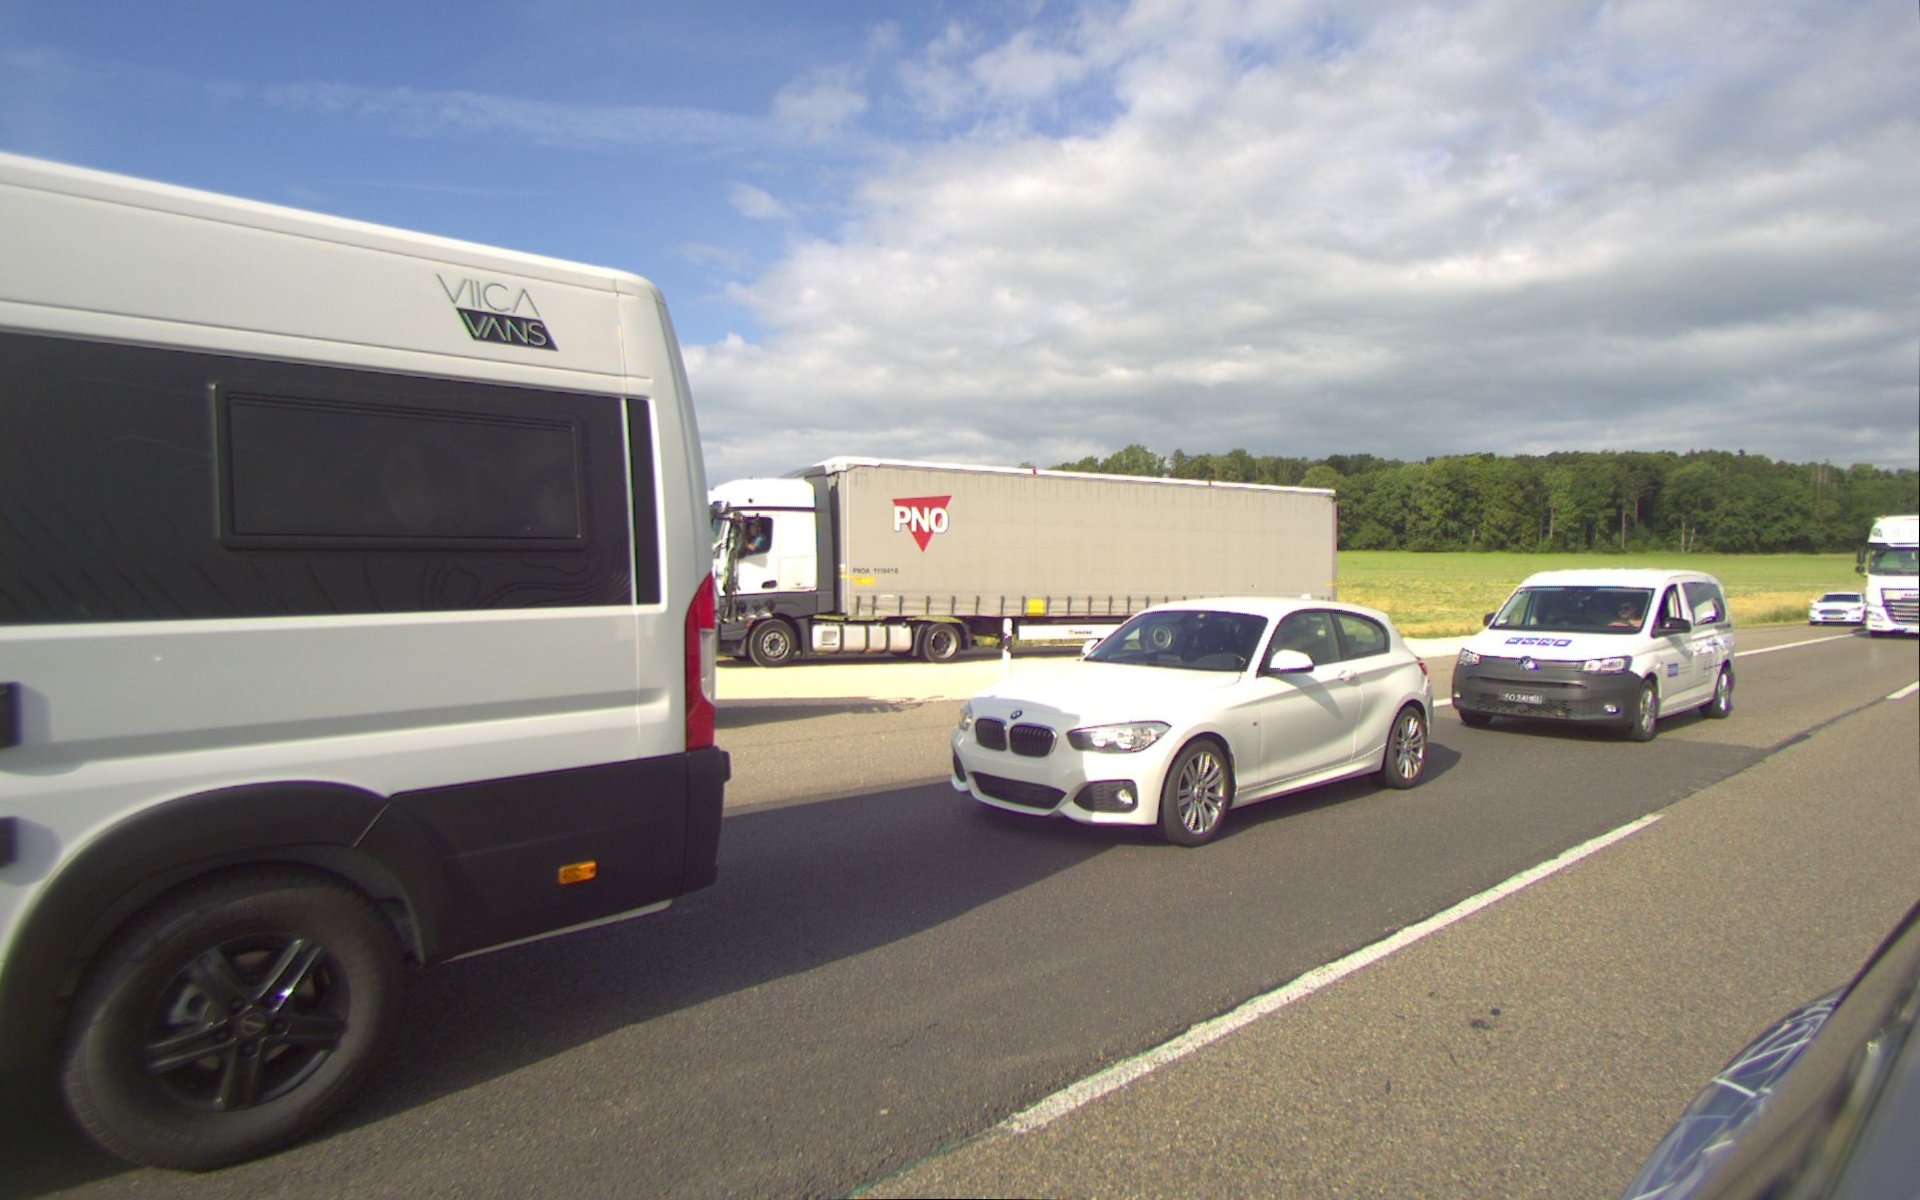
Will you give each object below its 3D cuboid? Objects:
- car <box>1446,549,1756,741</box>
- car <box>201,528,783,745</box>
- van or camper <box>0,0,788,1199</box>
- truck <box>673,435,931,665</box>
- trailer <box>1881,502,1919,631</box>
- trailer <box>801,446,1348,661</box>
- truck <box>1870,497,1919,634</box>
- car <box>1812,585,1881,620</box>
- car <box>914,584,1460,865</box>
[{"bbox_3d":[7.457,0.402,11.574,4.620,1.779,1.727,0,0,-41],"label":"car"},{"bbox_3d":[-4.527,0.311,10.580,5.156,1.949,1.804,0,0,-14],"label":"car"},{"bbox_3d":[-3.645,-0.009,2.231,6.222,2.714,2.219,0,1,-41],"label":"van or camper"},{"bbox_3d":[-3.292,-0.937,20.872,4.662,4.226,2.727,0,0,-26],"label":"truck"},{"bbox_3d":[36.687,-1.224,37.161,13.777,4.212,2.739,-1,1,-41],"label":"trailer"},{"bbox_3d":[3.188,-0.928,24.031,13.543,4.213,2.748,0,0,-26],"label":"trailer"},{"bbox_3d":[31.937,-1.111,32.969,5.667,4.226,2.733,-1,1,-41],"label":"truck"},{"bbox_3d":[38.865,0.075,44.324,4.552,1.450,1.868,0,1,-44],"label":"car"},{"bbox_3d":[1.816,0.621,7.243,4.158,1.450,1.706,0,0,-41],"label":"car"}]
